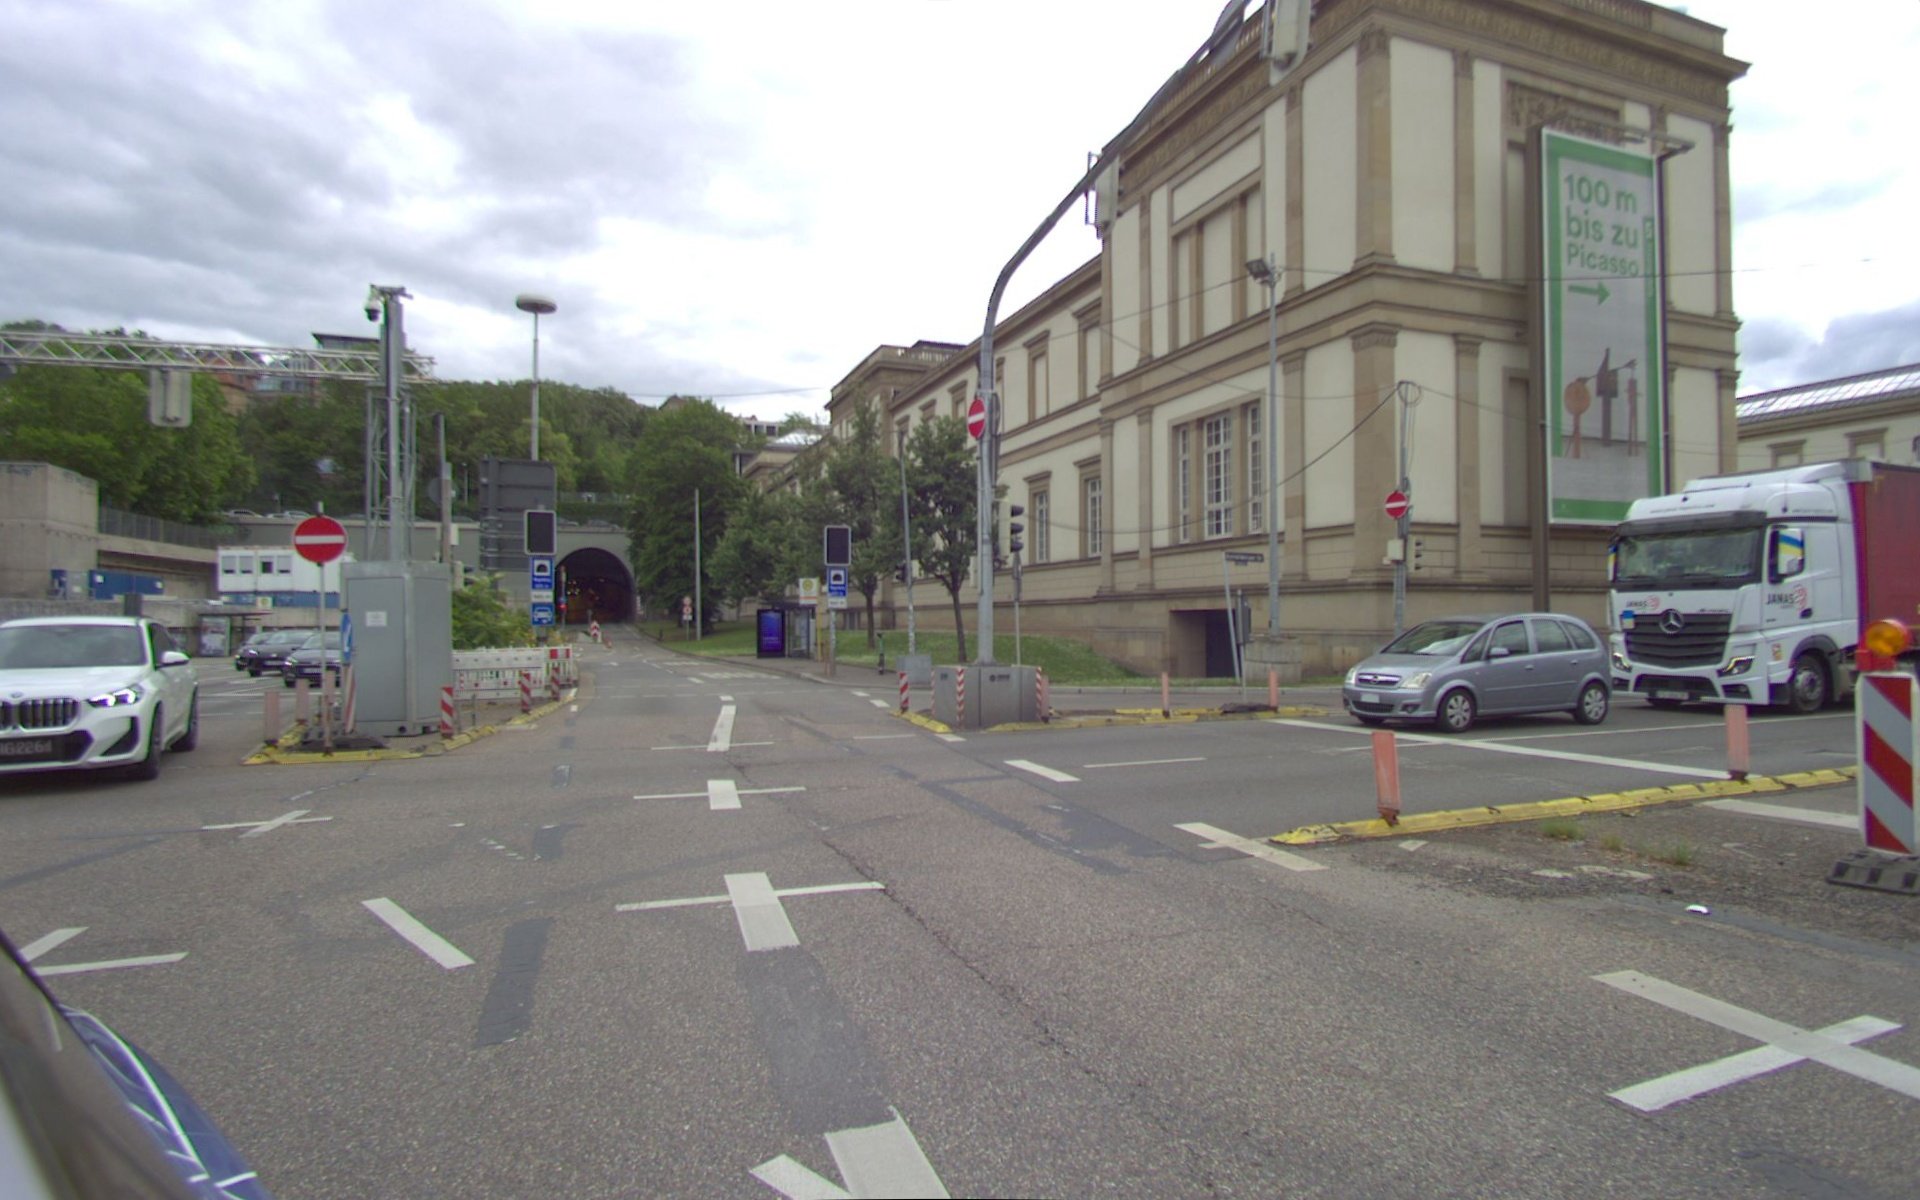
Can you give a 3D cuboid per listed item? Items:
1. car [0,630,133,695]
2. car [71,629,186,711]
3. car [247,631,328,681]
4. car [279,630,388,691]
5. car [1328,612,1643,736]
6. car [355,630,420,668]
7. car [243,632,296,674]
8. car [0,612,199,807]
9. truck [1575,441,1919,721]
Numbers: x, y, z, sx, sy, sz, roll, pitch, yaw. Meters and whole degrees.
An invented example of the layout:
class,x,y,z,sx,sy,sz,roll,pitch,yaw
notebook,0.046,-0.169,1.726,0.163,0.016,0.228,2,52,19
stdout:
class,x,y,z,sx,sy,sz,roll,pitch,yaw
car,-24.129,1.616,26.991,1.780,1.591,4.453,0,-2,-19
car,-17.635,1.438,21.604,1.665,1.586,3.721,1,-3,-36
car,-22.528,1.837,34.034,1.966,1.564,4.012,1,-2,-30
car,-17.227,1.608,28.015,1.965,1.564,4.013,1,-2,-23
car,7.550,0.972,14.563,4.060,1.515,1.777,-1,-1,-22
car,-25.182,2.158,44.654,1.663,1.586,4.005,0,-2,-17
car,-27.572,2.092,40.363,1.664,1.586,4.003,1,-3,-35
car,-8.926,0.973,9.972,1.782,1.617,3.724,1,-3,-30
truck,18.889,-0.233,19.241,16.325,4.114,2.936,0,-2,-22
